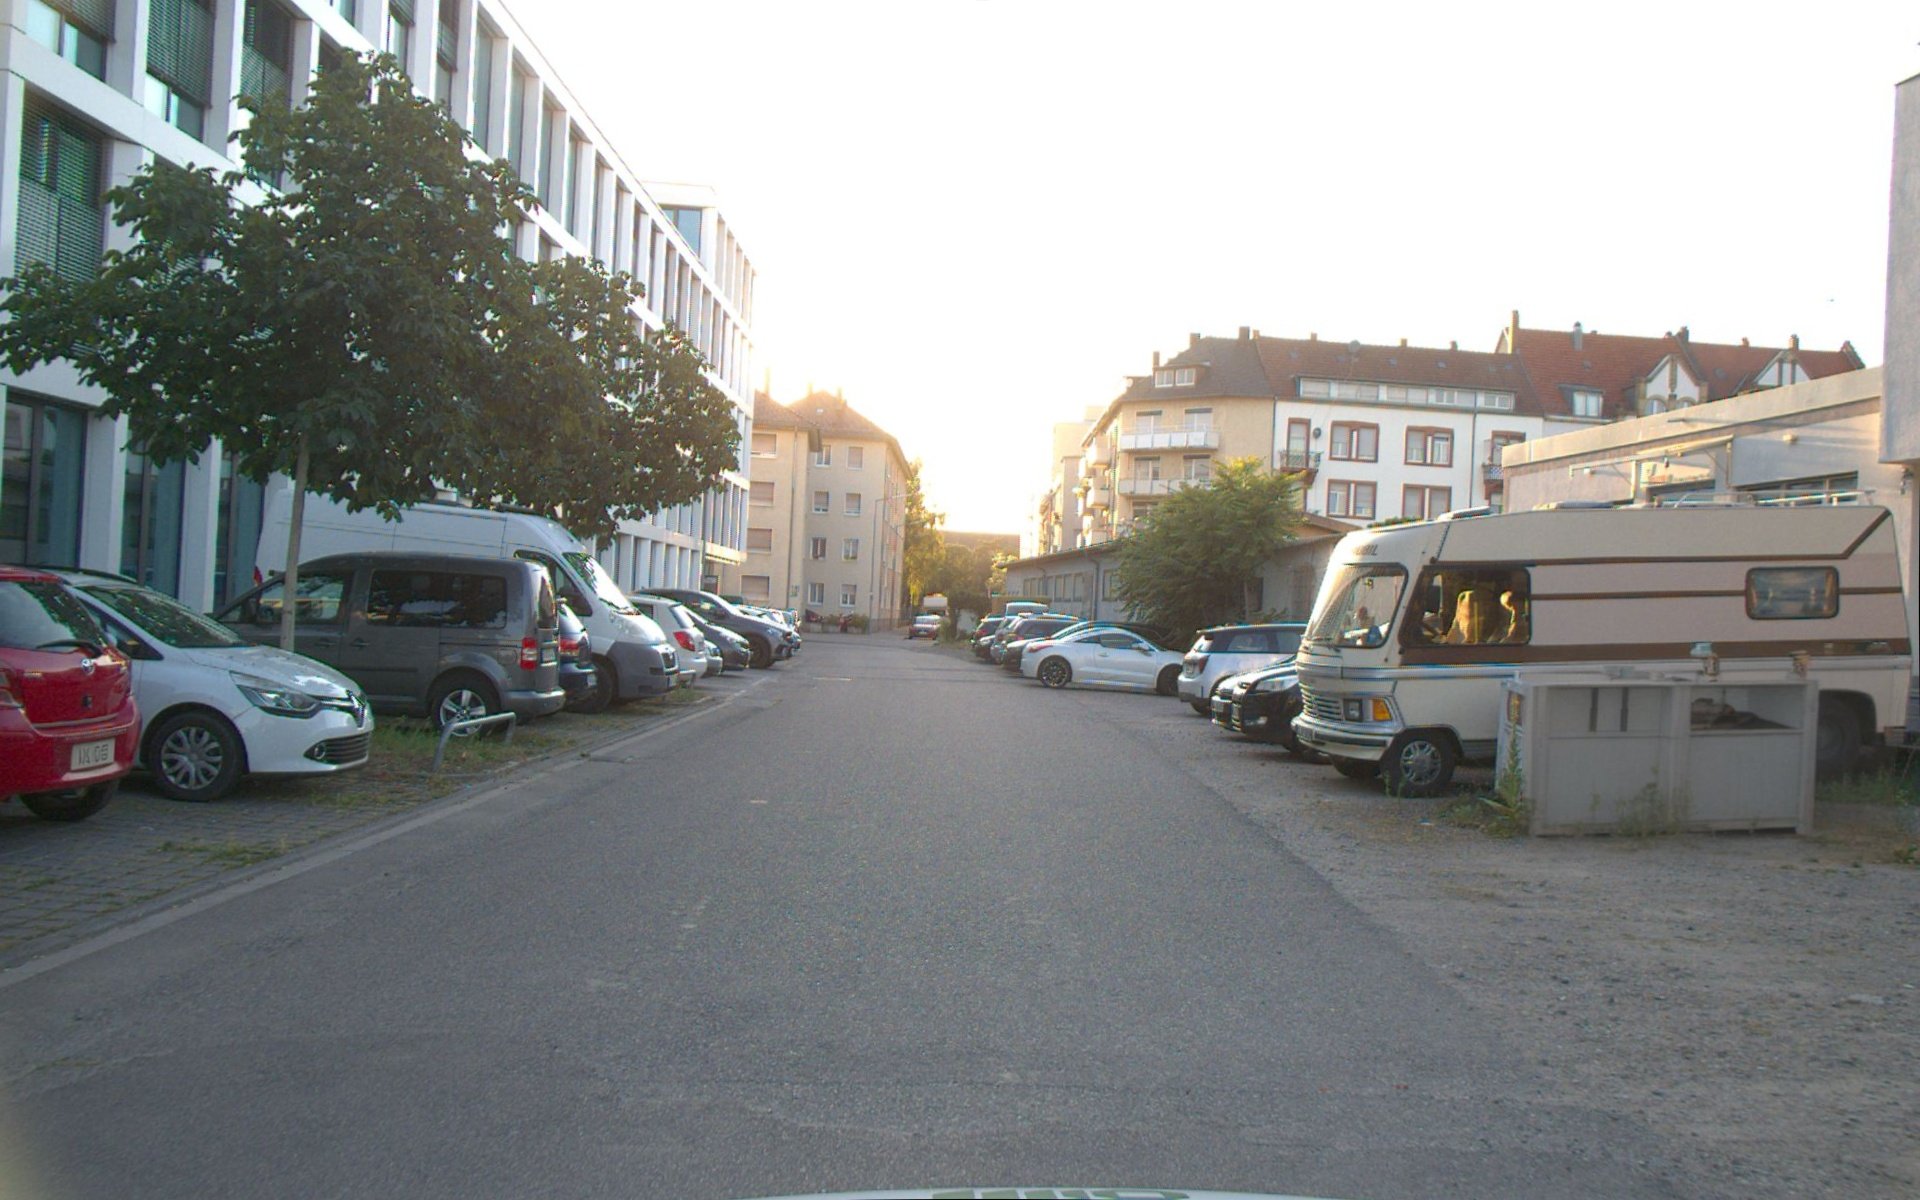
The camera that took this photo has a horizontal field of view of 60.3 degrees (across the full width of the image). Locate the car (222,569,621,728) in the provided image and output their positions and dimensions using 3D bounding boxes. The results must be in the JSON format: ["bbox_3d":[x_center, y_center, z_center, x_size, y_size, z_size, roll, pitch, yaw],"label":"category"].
[{"bbox_3d":[-6.144,0.546,19.264,4.029,1.525,1.773,4,0,-5],"label":"car"}]

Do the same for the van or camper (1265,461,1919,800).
[{"bbox_3d":[6.090,0.310,16.106,5.666,2.914,2.484,1,-1,-4],"label":"van or camper"}]

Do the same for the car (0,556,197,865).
[{"bbox_3d":[-6.762,0.443,9.260,4.026,1.545,1.844,4,0,-2],"label":"car"}]

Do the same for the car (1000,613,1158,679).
[{"bbox_3d":[3.106,1.217,43.687,3.904,1.470,1.826,4,-2,-3],"label":"car"}]

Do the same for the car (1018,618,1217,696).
[{"bbox_3d":[3.369,1.210,36.015,4.116,1.391,1.823,4,-1,1],"label":"car"}]

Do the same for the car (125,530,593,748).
[{"bbox_3d":[-5.966,0.386,16.846,4.029,1.848,1.814,4,0,-5],"label":"car"}]

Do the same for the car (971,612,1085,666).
[{"bbox_3d":[2.296,1.300,56.207,3.684,1.562,1.891,3,0,-2],"label":"car"}]

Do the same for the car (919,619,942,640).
[{"bbox_3d":[-2.136,2.142,120.436,1.583,1.499,3.504,1,-1,-1],"label":"car"}]

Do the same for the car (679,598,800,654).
[{"bbox_3d":[-7.015,0.820,52.872,3.581,1.537,1.687,4,0,-1],"label":"car"}]

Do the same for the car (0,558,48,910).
[{"bbox_3d":[-6.160,0.461,6.487,4.027,1.545,1.844,4,0,-3],"label":"car"}]

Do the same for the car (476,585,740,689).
[{"bbox_3d":[-6.213,0.637,29.504,4.220,1.521,1.794,4,0,0],"label":"car"}]

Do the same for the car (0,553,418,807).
[{"bbox_3d":[-6.237,0.483,11.870,4.026,1.545,1.780,4,0,-2],"label":"car"}]

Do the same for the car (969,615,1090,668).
[{"bbox_3d":[2.239,1.353,53.766,3.686,1.470,1.843,4,-2,-4],"label":"car"}]

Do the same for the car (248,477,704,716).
[{"bbox_3d":[-6.276,-0.041,21.951,5.271,2.678,2.078,4,0,0],"label":"car"}]

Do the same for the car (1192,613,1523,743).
[{"bbox_3d":[5.243,1.017,22.064,3.928,1.591,1.709,2,-1,-7],"label":"car"}]

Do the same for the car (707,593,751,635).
[{"bbox_3d":[-11.904,0.700,85.526,1.762,2.014,4.686,3,0,-3],"label":"car"}]

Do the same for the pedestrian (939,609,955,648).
[{"bbox_3d":[-0.679,1.511,87.282,0.549,2.049,0.569,3,-1,-32],"label":"pedestrian"}]

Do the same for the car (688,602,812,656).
[{"bbox_3d":[-7.020,0.958,55.428,3.846,1.537,1.687,4,0,0],"label":"car"}]

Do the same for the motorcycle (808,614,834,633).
[{"bbox_3d":[-8.590,1.479,102.501,0.708,1.098,2.081,2,-1,21],"label":"motorcycle"}]

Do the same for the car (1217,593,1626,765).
[{"bbox_3d":[5.185,0.877,19.023,4.153,1.771,1.968,1,-1,1],"label":"car"}]

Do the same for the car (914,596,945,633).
[{"bbox_3d":[-2.763,1.375,152.616,2.566,3.326,7.696,1,-1,1],"label":"car"}]

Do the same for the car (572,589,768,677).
[{"bbox_3d":[-5.918,0.667,34.126,3.706,1.549,1.692,4,0,-3],"label":"car"}]

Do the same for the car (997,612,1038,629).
[{"bbox_3d":[5.656,1.994,162.616,3.905,1.557,1.659,1,-1,0],"label":"car"}]

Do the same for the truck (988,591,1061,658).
[{"bbox_3d":[2.297,0.891,60.375,2.056,2.239,5.707,3,-1,-3],"label":"truck"}]

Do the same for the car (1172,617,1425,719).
[{"bbox_3d":[5.373,1.069,26.511,3.632,1.505,1.710,1,-1,-5],"label":"car"}]

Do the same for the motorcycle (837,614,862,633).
[{"bbox_3d":[-7.015,1.495,105.053,0.675,1.181,2.032,2,-1,24],"label":"motorcycle"}]

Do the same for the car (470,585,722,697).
[{"bbox_3d":[-5.817,0.640,26.770,3.633,1.521,1.707,4,0,-2],"label":"car"}]

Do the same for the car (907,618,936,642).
[{"bbox_3d":[-2.501,1.934,107.047,1.808,1.499,4.077,2,-1,-1],"label":"car"}]

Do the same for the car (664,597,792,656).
[{"bbox_3d":[-7.062,0.801,50.567,3.581,1.537,1.687,4,0,-1],"label":"car"}]

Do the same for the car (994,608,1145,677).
[{"bbox_3d":[3.040,1.183,46.489,3.908,1.647,1.824,4,-1,-7],"label":"car"}]

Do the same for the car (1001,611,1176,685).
[{"bbox_3d":[3.167,1.197,41.255,4.118,1.529,1.889,4,-2,-1],"label":"car"}]

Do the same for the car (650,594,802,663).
[{"bbox_3d":[-6.066,0.727,43.081,3.591,1.537,1.696,4,0,2],"label":"car"}]

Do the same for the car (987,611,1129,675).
[{"bbox_3d":[2.867,1.257,48.960,3.906,1.637,1.937,4,-1,-4],"label":"car"}]

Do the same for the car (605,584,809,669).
[{"bbox_3d":[-6.137,0.636,40.438,4.523,1.736,2.005,4,0,2],"label":"car"}]
